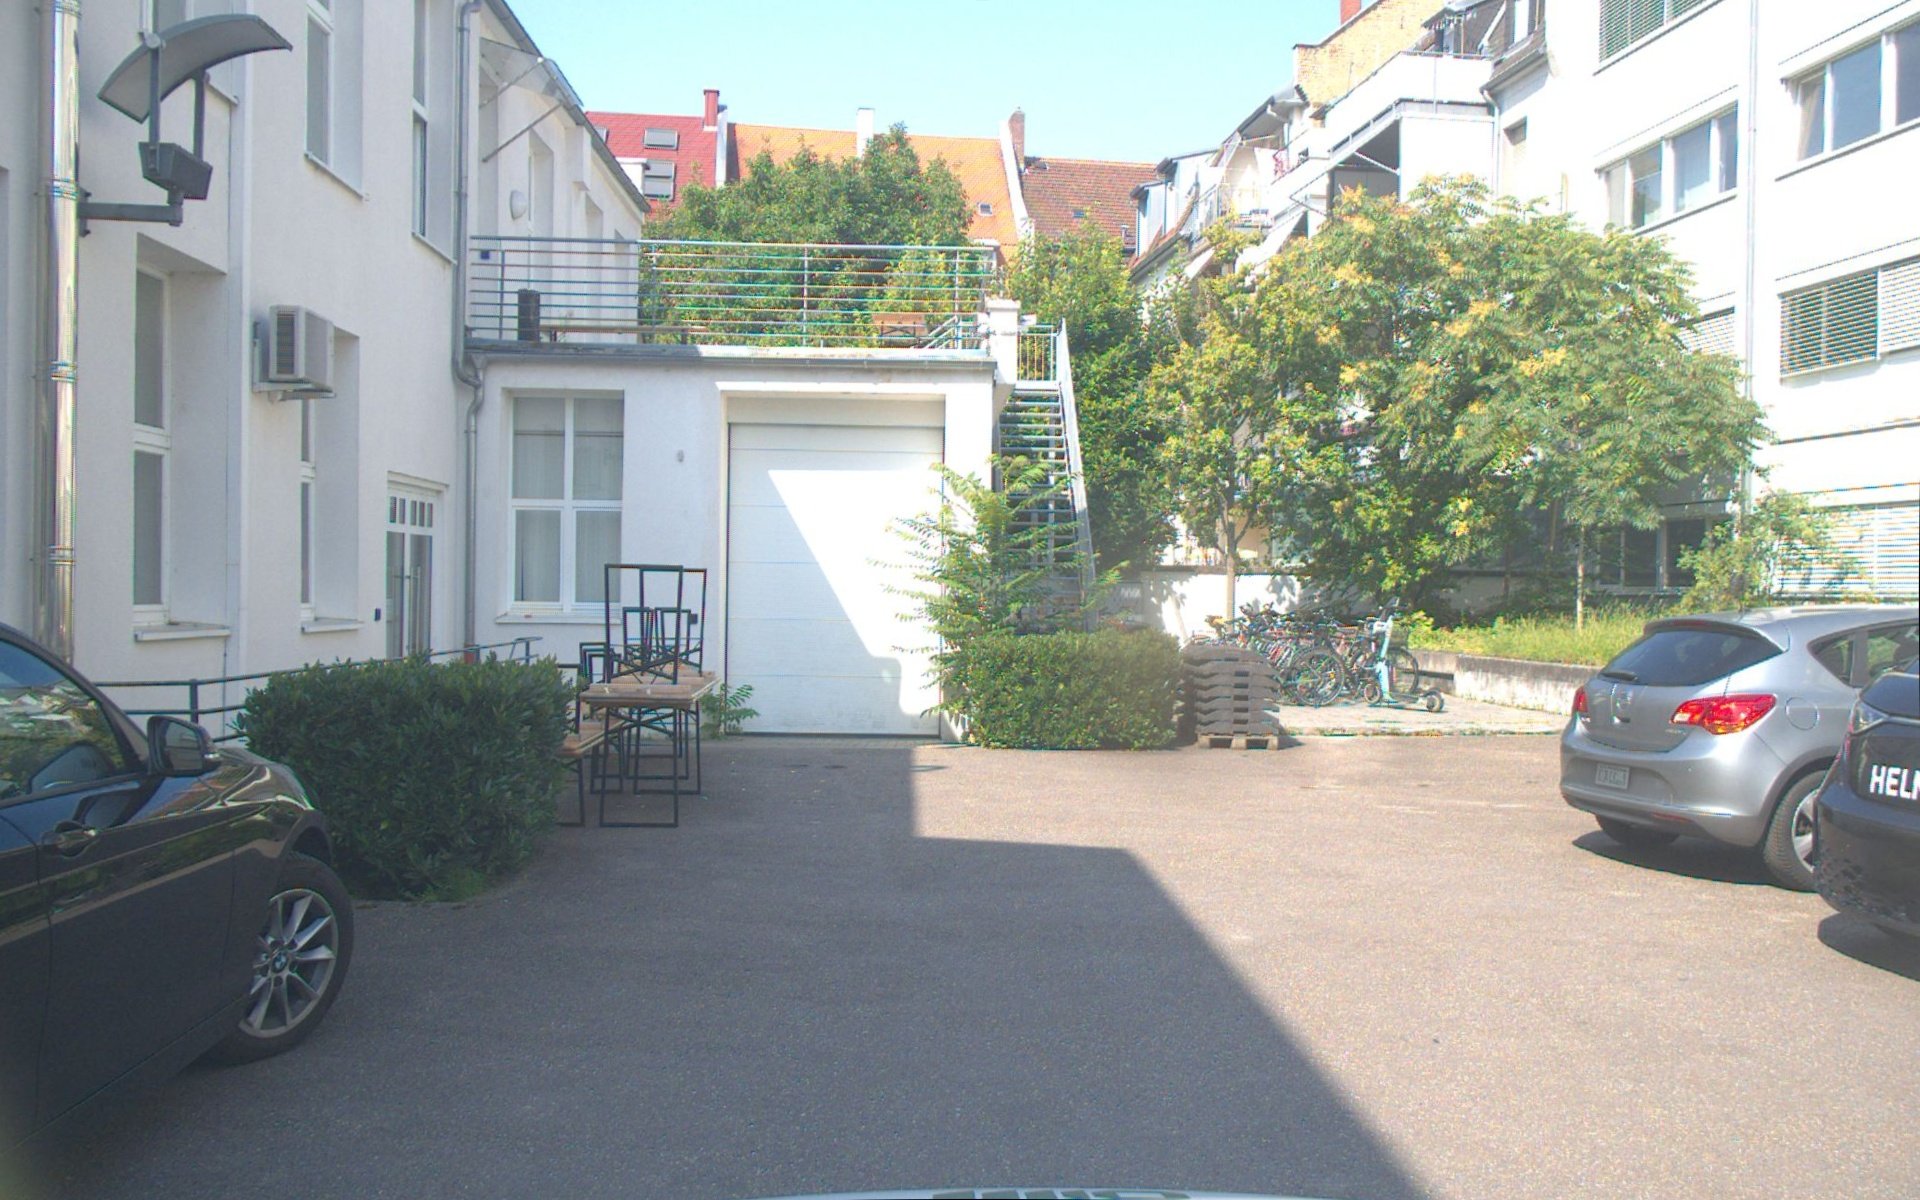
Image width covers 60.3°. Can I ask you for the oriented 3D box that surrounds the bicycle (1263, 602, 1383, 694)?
[{"bbox_3d":[4.967,0.651,22.686,1.588,1.235,0.424,0,0,10],"label":"bicycle"}]

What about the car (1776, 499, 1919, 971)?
[{"bbox_3d":[5.901,0.527,6.736,4.420,1.826,1.878,0,-1,-11],"label":"car"}]

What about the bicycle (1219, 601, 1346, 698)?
[{"bbox_3d":[4.144,0.635,21.319,1.588,1.235,0.327,0,0,8],"label":"bicycle"}]

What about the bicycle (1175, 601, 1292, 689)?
[{"bbox_3d":[3.890,0.635,23.589,1.592,1.235,0.423,0,0,-7],"label":"bicycle"}]

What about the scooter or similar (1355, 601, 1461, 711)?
[{"bbox_3d":[5.418,0.660,20.053,0.375,1.283,1.333,0,0,-33],"label":"scooter or similar"}]

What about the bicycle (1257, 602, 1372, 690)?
[{"bbox_3d":[5.075,0.655,23.716,1.588,1.235,0.424,0,0,10],"label":"bicycle"}]

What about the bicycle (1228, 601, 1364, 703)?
[{"bbox_3d":[4.106,0.632,20.252,1.590,1.235,0.327,0,0,-1],"label":"bicycle"}]

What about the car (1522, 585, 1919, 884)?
[{"bbox_3d":[5.484,0.688,9.607,3.862,1.508,1.770,0,-1,-11],"label":"car"}]

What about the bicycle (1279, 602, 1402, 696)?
[{"bbox_3d":[5.078,0.652,22.115,1.588,1.235,0.424,0,0,11],"label":"bicycle"}]

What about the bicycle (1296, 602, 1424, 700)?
[{"bbox_3d":[5.131,0.651,21.255,1.588,1.235,0.327,0,0,13],"label":"bicycle"}]

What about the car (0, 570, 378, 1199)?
[{"bbox_3d":[-2.590,0.675,3.285,1.655,1.484,3.920,1,0,-3],"label":"car"}]

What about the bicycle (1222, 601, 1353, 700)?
[{"bbox_3d":[4.123,0.634,20.868,1.590,1.235,0.327,0,0,-1],"label":"bicycle"}]

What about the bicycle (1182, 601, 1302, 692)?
[{"bbox_3d":[3.914,0.634,22.988,1.592,1.235,0.423,0,0,-8],"label":"bicycle"}]

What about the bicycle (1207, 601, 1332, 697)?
[{"bbox_3d":[4.056,0.634,21.681,1.588,1.235,0.327,0,0,11],"label":"bicycle"}]

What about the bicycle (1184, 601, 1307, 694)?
[{"bbox_3d":[3.851,0.632,22.351,1.590,1.235,0.424,0,0,-3],"label":"bicycle"}]

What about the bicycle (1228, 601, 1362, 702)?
[{"bbox_3d":[4.161,0.634,20.575,1.590,1.235,0.327,0,0,-1],"label":"bicycle"}]
